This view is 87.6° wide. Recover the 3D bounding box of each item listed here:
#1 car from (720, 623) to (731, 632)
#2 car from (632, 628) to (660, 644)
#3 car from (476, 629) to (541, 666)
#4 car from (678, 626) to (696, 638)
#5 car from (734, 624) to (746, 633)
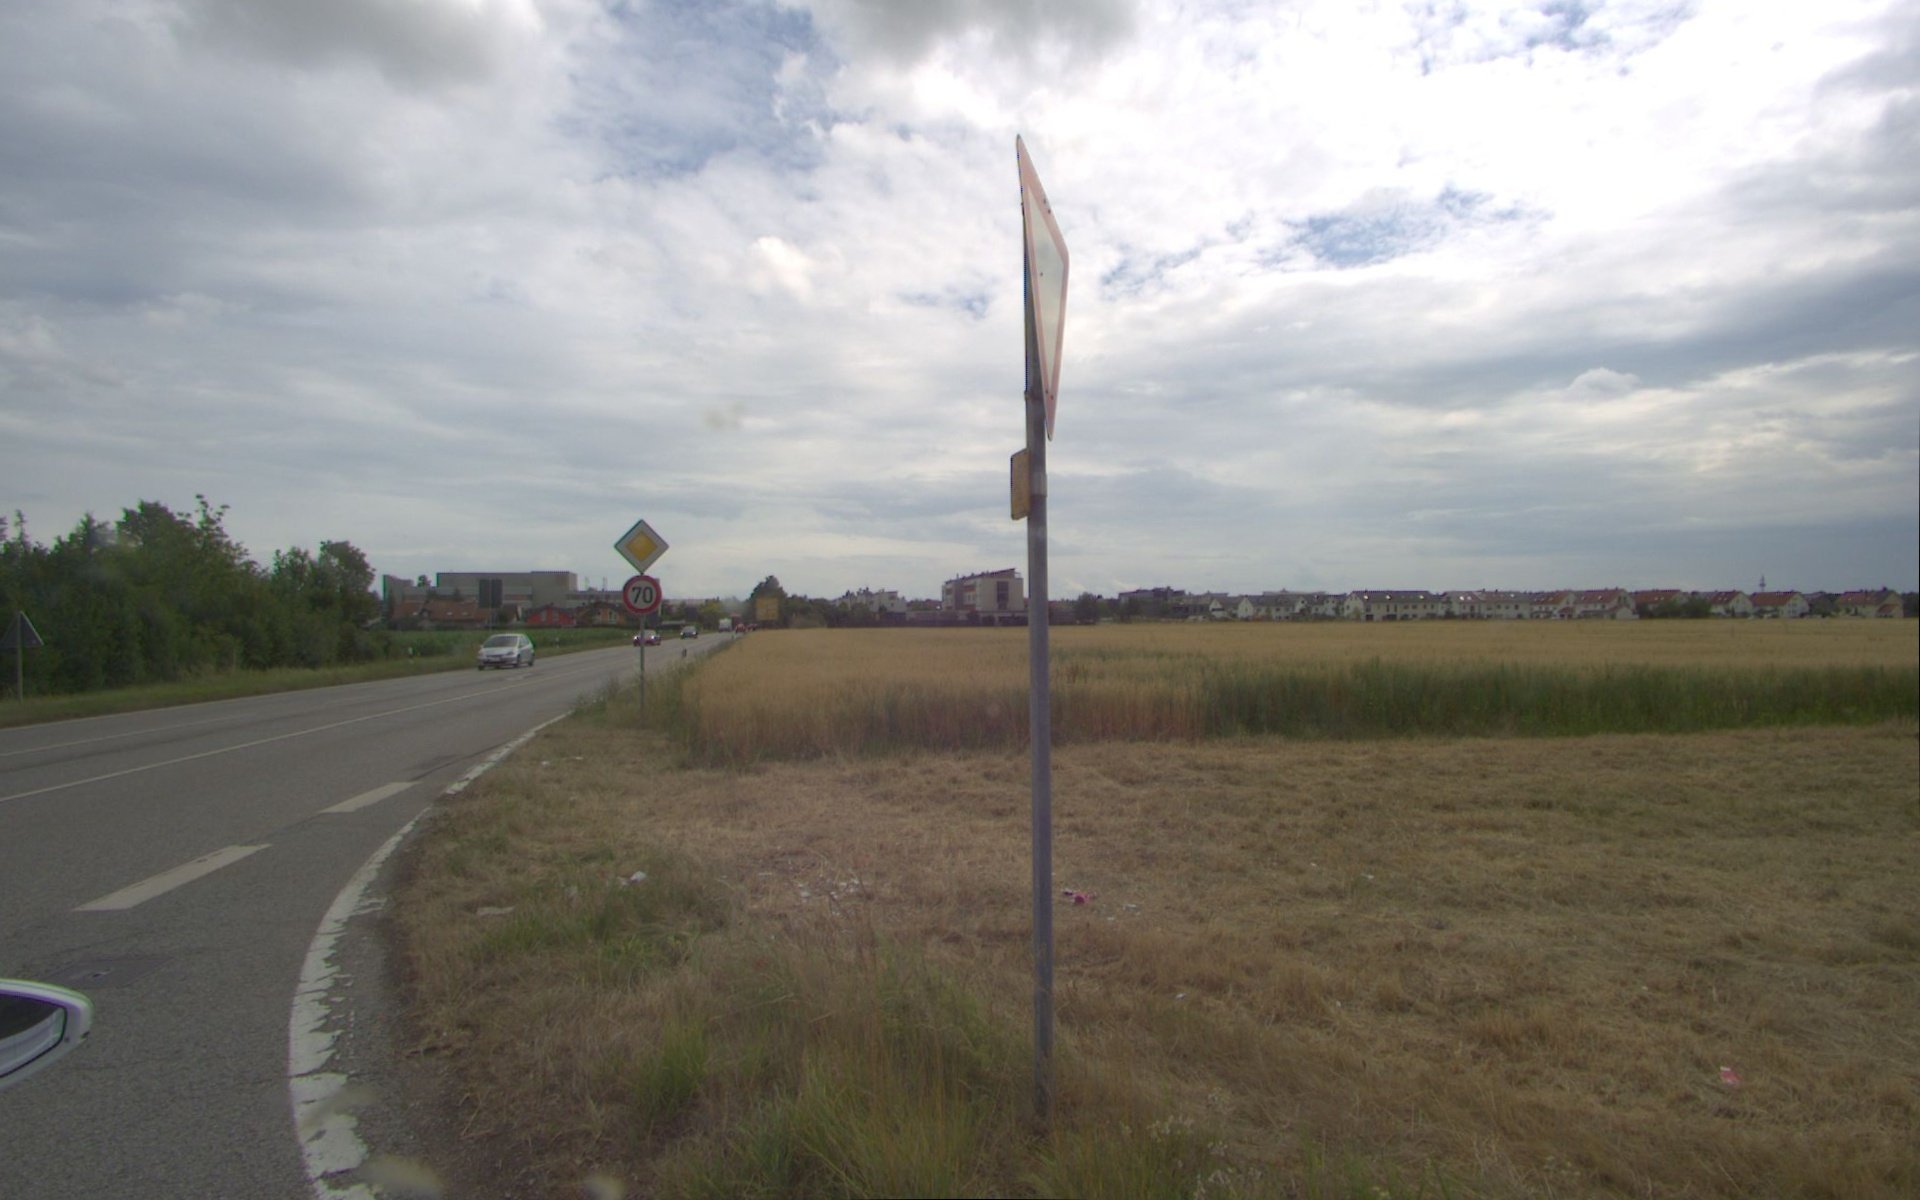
[{"bbox_3d":[-46.296,5.480,197.894,1.962,1.721,4.673,0,-1,-10],"label":"car"},{"bbox_3d":[-26.391,3.019,84.264,1.744,1.257,4.208,-1,-1,-12],"label":"car"},{"bbox_3d":[-19.978,2.074,44.466,1.703,1.450,3.932,-2,-1,-11],"label":"car"},{"bbox_3d":[-32.938,3.852,120.891,1.643,1.447,4.300,-2,-1,-11],"label":"car"},{"bbox_3d":[-38.664,5.054,176.112,1.828,1.586,3.999,0,-1,-8],"label":"car"}]
